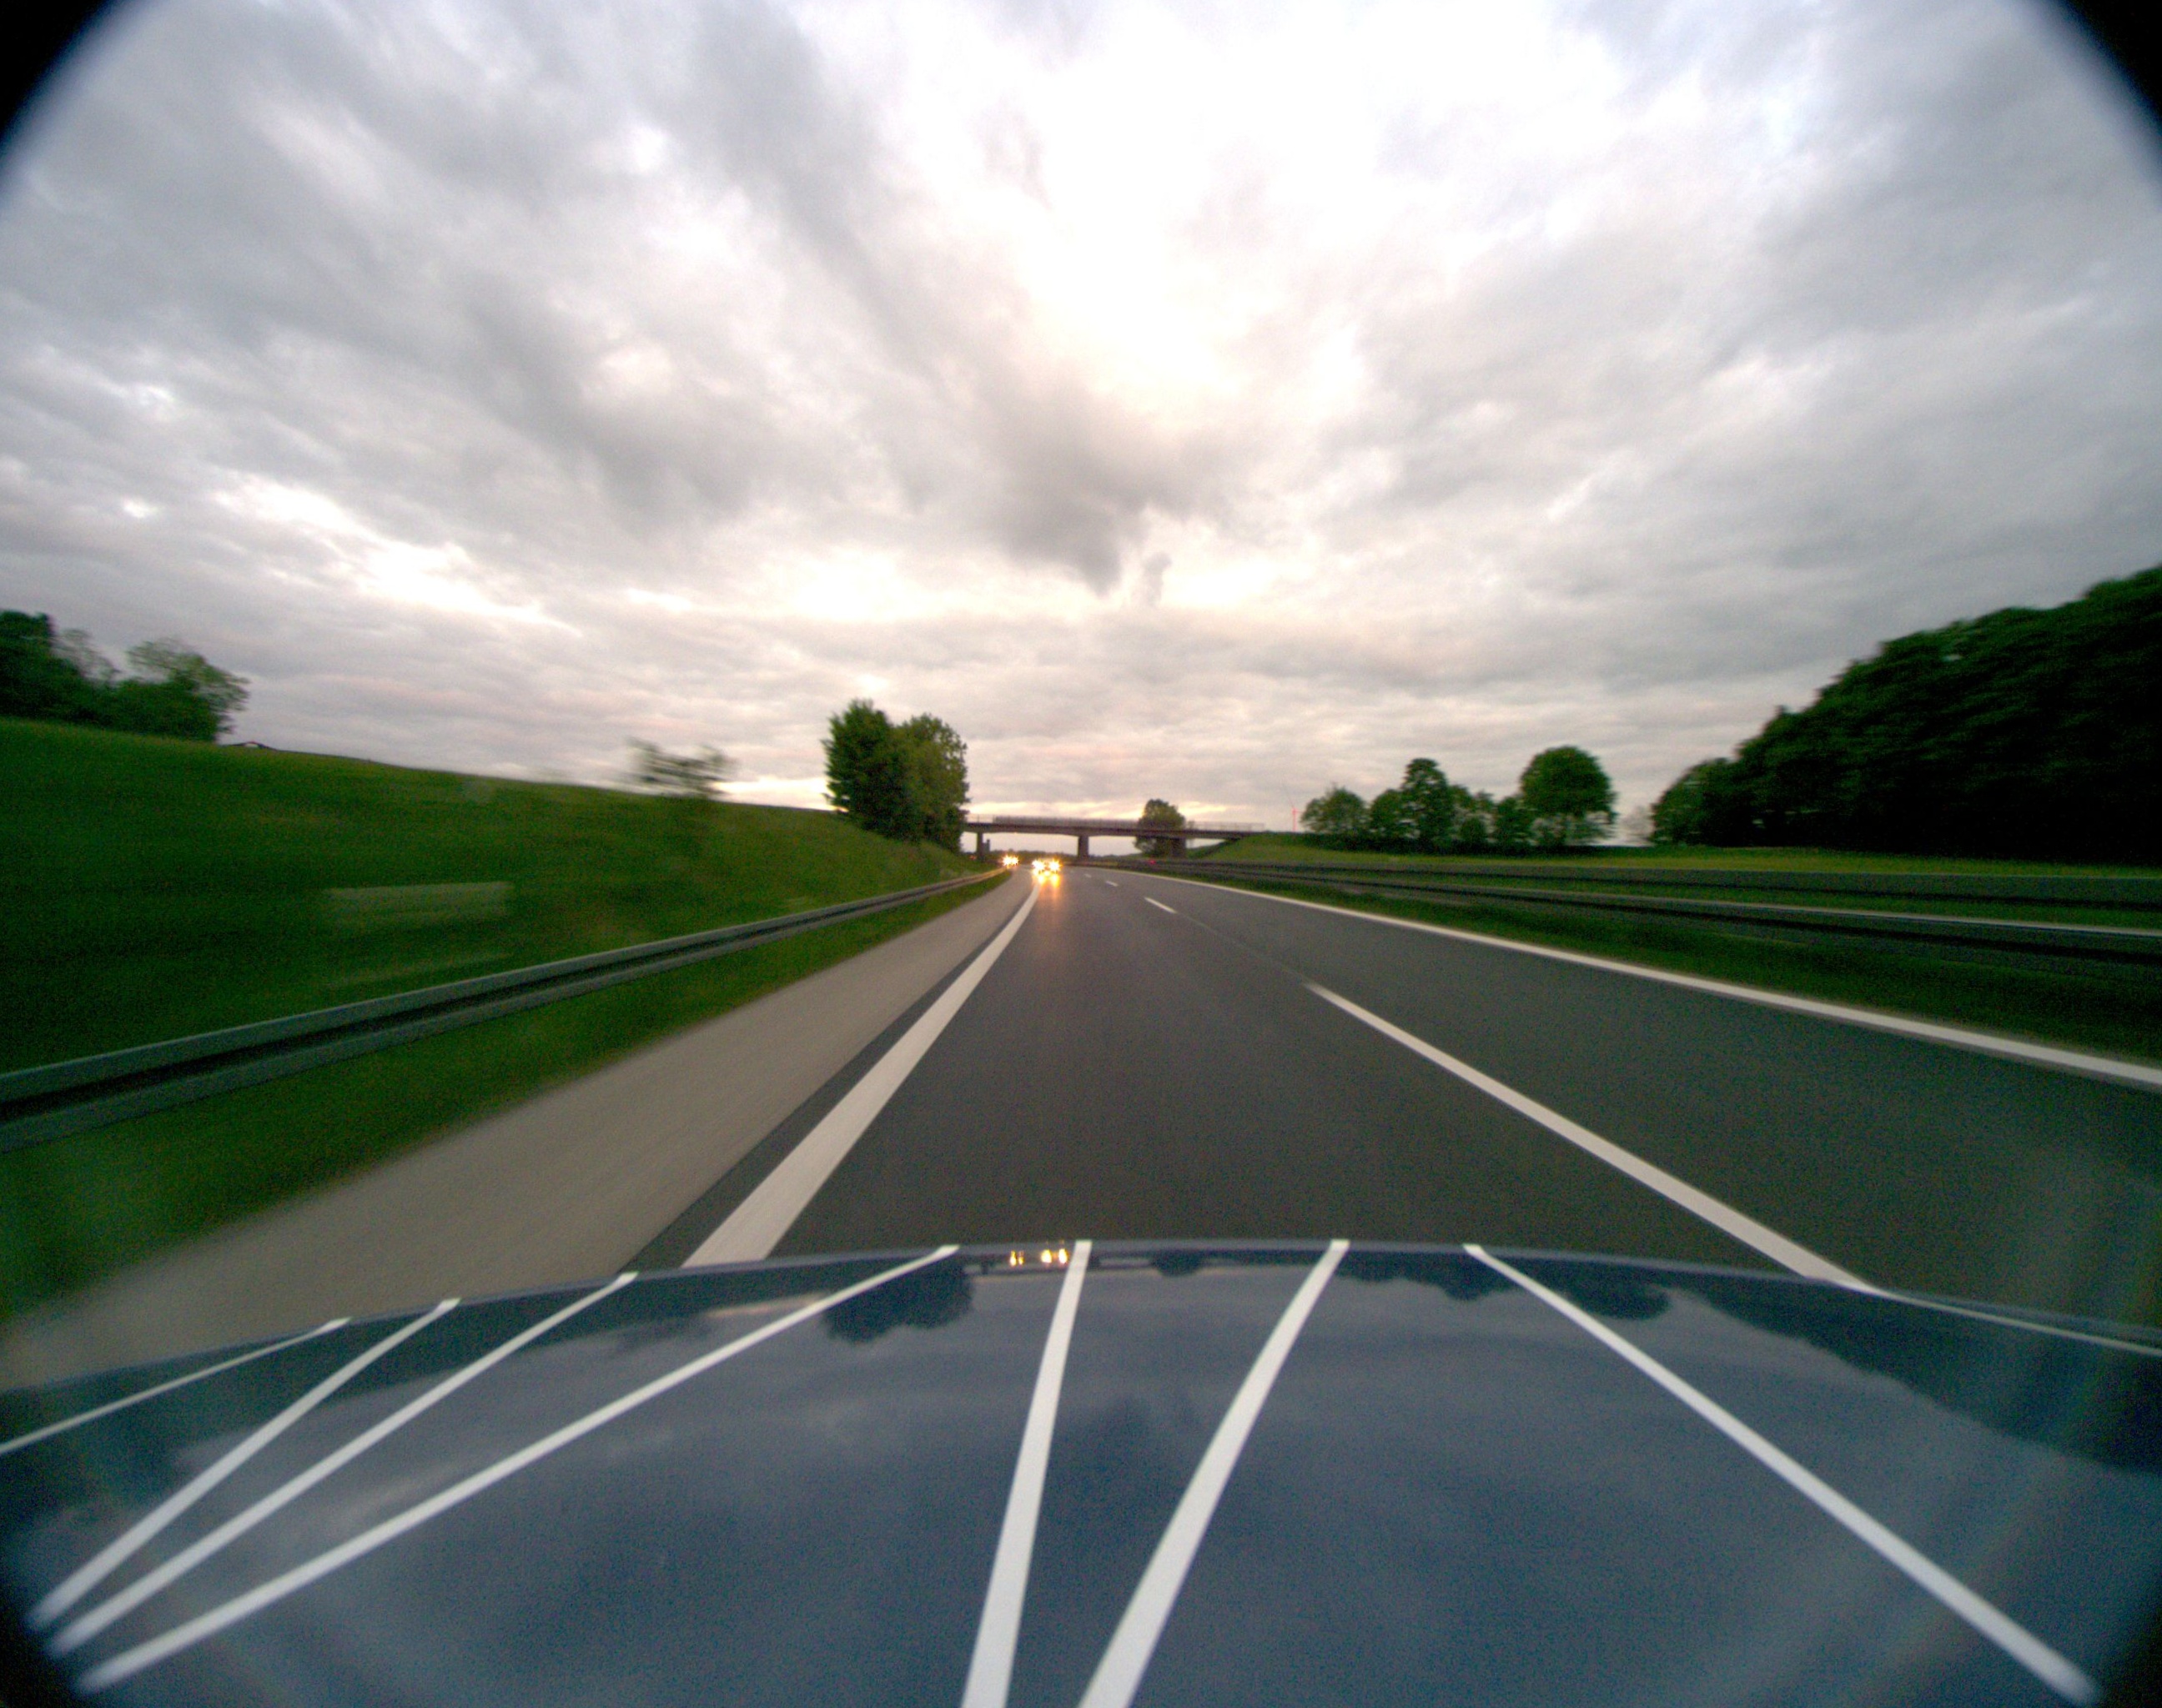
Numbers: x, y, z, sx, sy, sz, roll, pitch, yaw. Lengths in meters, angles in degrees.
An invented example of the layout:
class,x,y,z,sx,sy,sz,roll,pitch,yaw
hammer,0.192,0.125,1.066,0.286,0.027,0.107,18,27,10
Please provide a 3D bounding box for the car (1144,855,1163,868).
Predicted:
class,x,y,z,sx,sy,sz,roll,pitch,yaw
car,9.443,0.955,98.901,1.758,1.630,4.476,0,0,-4

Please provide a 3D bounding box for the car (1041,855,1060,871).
class,x,y,z,sx,sy,sz,roll,pitch,yaw
car,-2.920,0.827,72.589,1.682,1.504,3.998,1,0,-4

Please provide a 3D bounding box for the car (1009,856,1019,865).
class,x,y,z,sx,sy,sz,roll,pitch,yaw
car,-13.838,1.338,157.747,1.921,1.826,3.998,1,-1,-7
